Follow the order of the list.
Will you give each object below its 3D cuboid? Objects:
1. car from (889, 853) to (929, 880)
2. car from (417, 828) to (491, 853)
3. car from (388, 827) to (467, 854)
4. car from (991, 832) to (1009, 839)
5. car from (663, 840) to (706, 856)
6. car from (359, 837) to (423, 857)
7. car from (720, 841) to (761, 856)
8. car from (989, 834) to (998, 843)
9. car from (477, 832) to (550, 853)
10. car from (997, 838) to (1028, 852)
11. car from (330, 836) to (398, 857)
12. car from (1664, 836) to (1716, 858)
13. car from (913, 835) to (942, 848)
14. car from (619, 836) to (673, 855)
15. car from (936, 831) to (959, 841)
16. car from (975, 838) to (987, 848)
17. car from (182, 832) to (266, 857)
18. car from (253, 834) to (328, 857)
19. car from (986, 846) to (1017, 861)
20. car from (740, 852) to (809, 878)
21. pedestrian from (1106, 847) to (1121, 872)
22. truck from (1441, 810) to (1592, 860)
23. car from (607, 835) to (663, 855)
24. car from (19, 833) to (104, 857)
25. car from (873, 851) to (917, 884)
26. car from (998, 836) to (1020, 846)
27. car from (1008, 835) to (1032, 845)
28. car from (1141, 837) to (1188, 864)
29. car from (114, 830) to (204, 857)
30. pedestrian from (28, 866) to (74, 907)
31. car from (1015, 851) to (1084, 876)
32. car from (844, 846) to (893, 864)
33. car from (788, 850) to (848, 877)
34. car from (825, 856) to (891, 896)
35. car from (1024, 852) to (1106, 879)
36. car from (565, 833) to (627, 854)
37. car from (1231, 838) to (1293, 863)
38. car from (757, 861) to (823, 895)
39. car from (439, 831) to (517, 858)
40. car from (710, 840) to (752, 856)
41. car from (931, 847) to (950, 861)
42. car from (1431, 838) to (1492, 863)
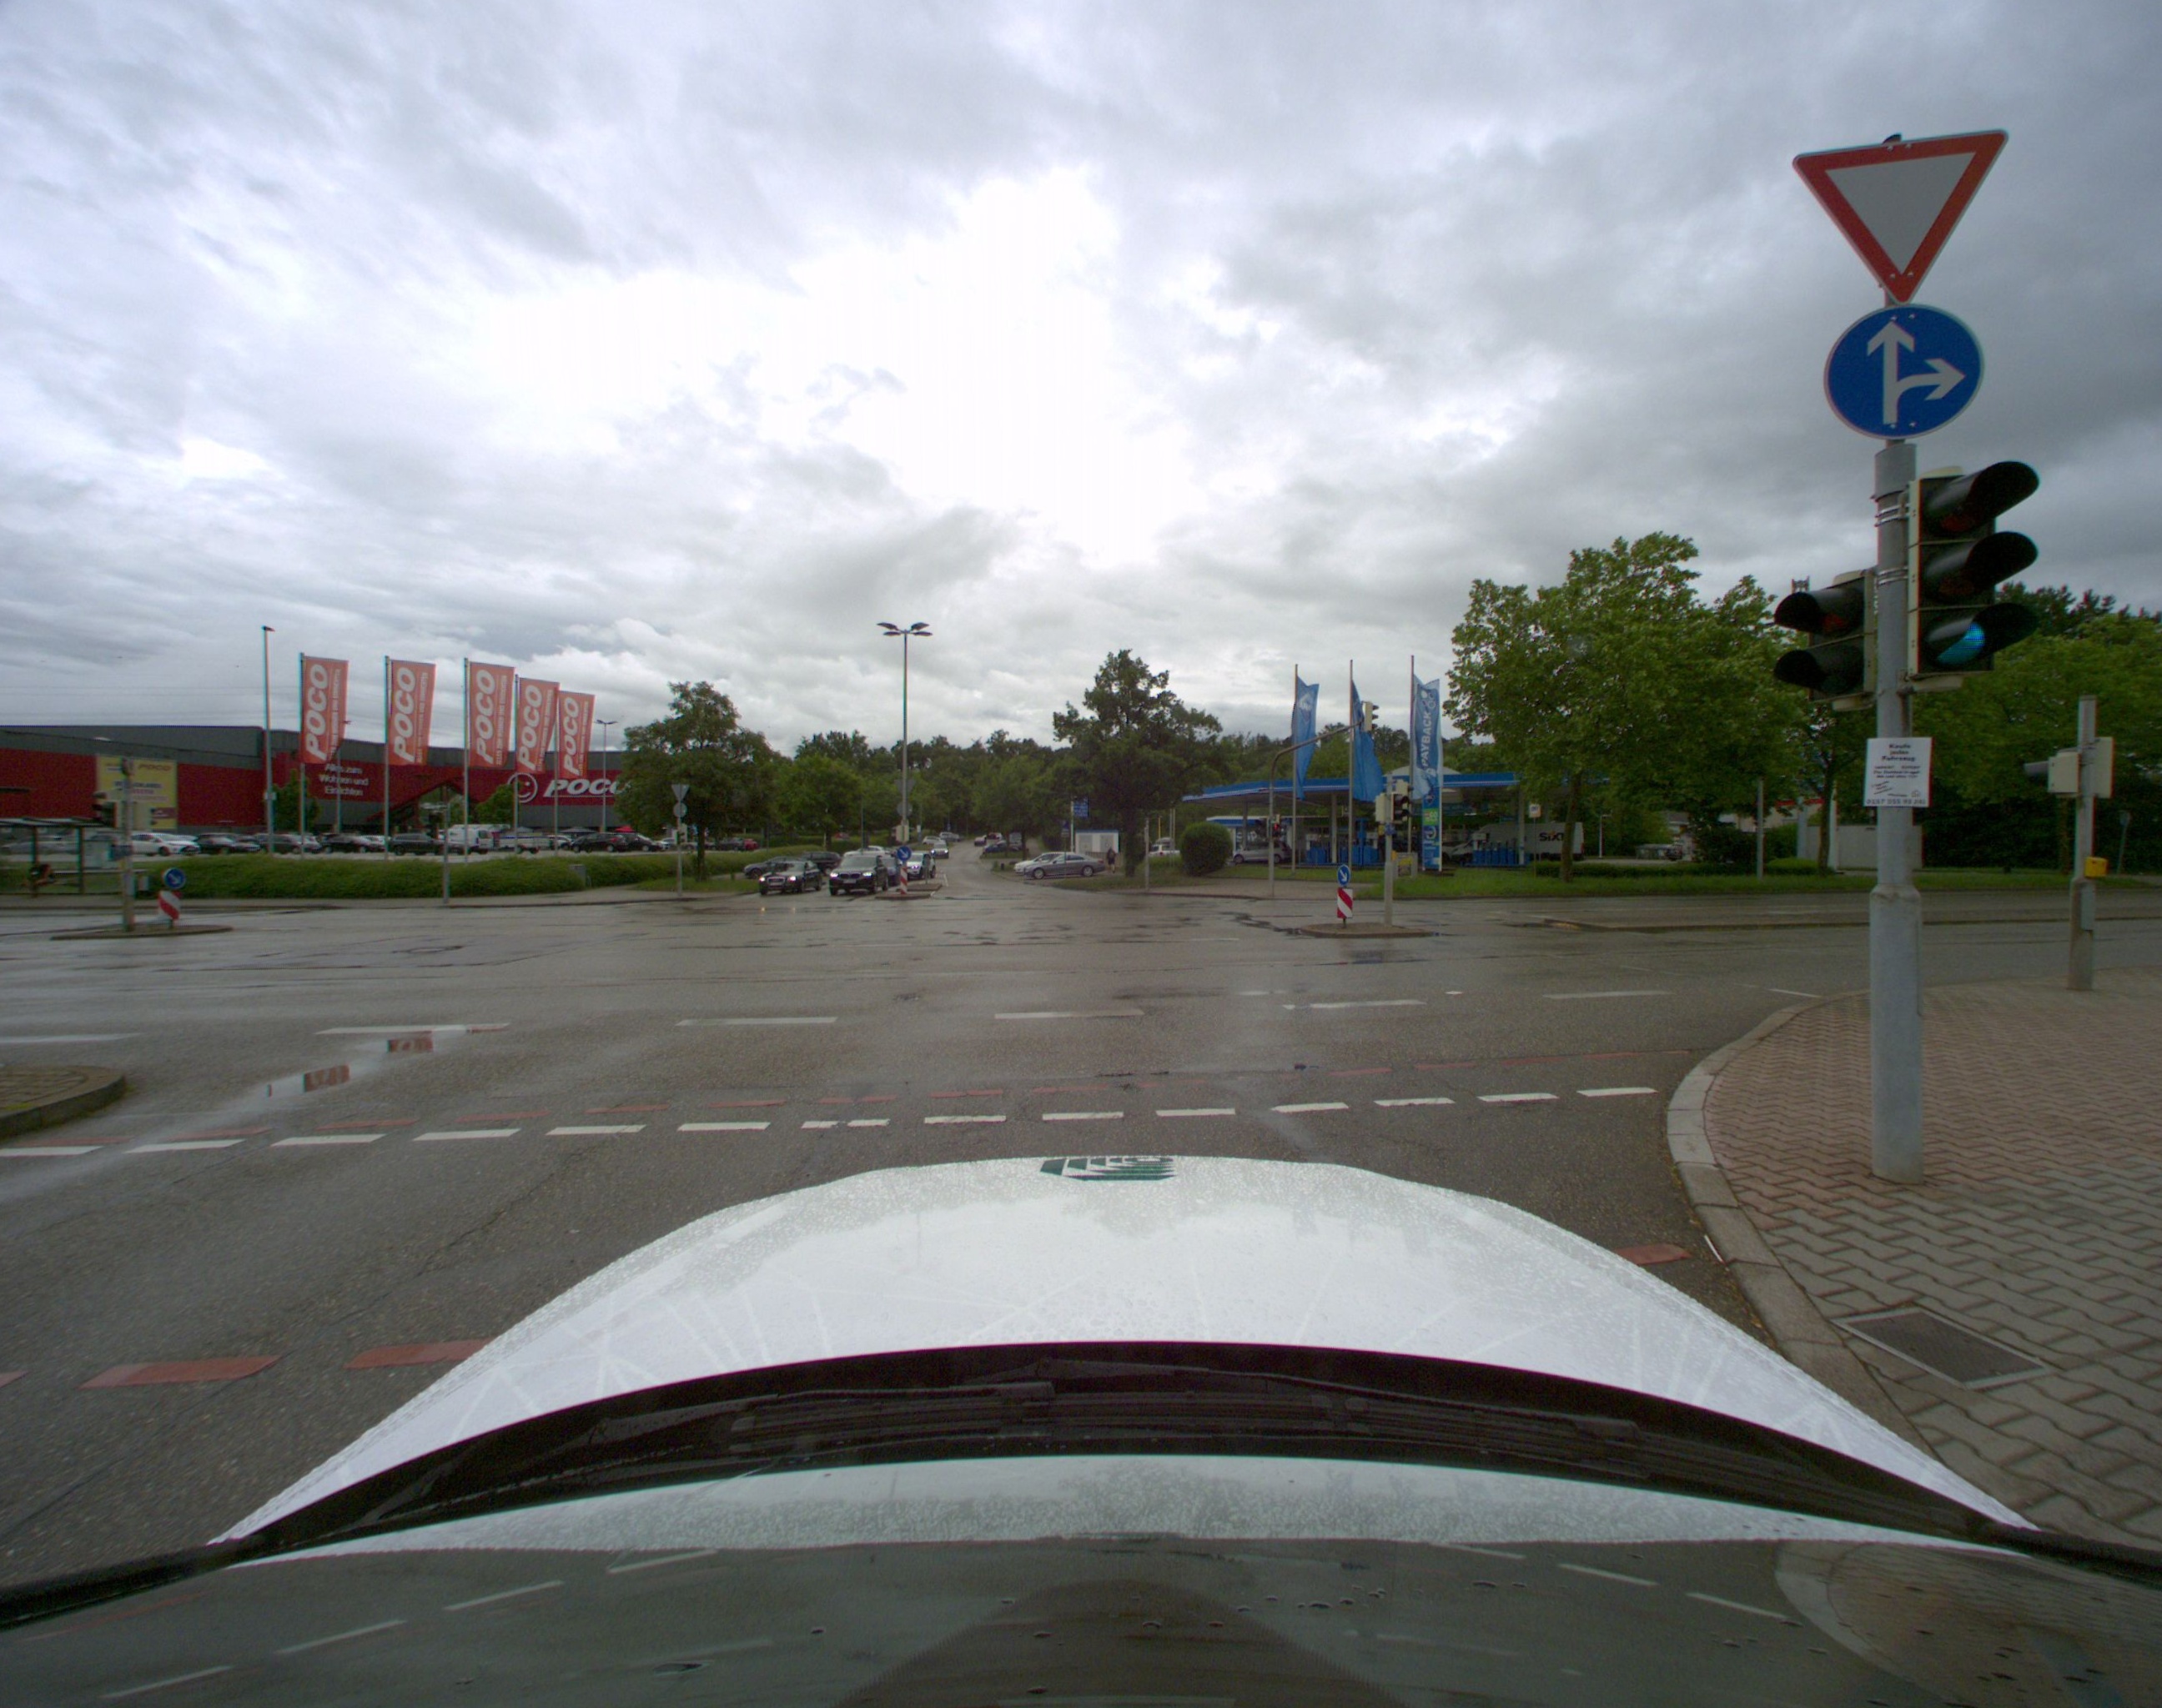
[{"bbox_3d":[-10.429,0.718,49.692,1.892,1.553,3.993,-1,0,-5],"label":"car"},{"bbox_3d":[-43.396,-0.936,56.424,3.802,1.645,1.632,-1,-1,-1],"label":"car"},{"bbox_3d":[-42.892,-0.882,53.480,3.802,1.645,1.672,-1,-1,-1],"label":"car"},{"bbox_3d":[-18.453,-4.144,185.307,3.978,1.530,1.804,-1,-1,-3],"label":"car"},{"bbox_3d":[-42.830,-0.623,88.119,3.802,1.645,1.672,-1,-1,-1],"label":"car"},{"bbox_3d":[-57.930,-0.557,68.403,3.937,1.645,1.672,-1,-1,-1],"label":"car"},{"bbox_3d":[-37.969,-0.605,90.833,3.802,1.645,1.672,-1,-1,-1],"label":"car"},{"bbox_3d":[-19.052,-3.347,177.360,1.802,1.739,3.991,-1,0,-6],"label":"car"},{"bbox_3d":[-39.447,-0.768,56.636,3.884,1.381,1.672,-1,0,-1],"label":"car"},{"bbox_3d":[-8.291,-1.073,98.532,3.694,1.750,1.693,0,-1,-7],"label":"car"},{"bbox_3d":[-57.916,-0.576,65.828,3.937,1.645,1.672,-1,-1,-1],"label":"car"},{"bbox_3d":[53.555,-0.617,71.632,4.007,1.838,1.983,-1,-1,-26],"label":"car"},{"bbox_3d":[-22.544,-1.824,119.567,3.985,1.794,1.851,-1,-1,-9],"label":"car"},{"bbox_3d":[-38.153,-0.752,71.473,3.802,1.645,1.672,-1,-1,-1],"label":"car"},{"bbox_3d":[-24.572,-3.264,149.991,3.979,1.794,1.854,-1,-1,-4],"label":"car"},{"bbox_3d":[-15.902,-1.810,129.469,1.804,1.482,3.745,-1,0,-4],"label":"car"},{"bbox_3d":[-58.898,-0.650,56.009,3.937,1.645,1.672,-1,-1,-1],"label":"car"},{"bbox_3d":[-58.856,-0.614,60.671,3.937,1.645,1.672,-1,-1,-1],"label":"car"},{"bbox_3d":[-8.941,-0.033,91.691,3.456,1.654,1.612,0,-1,-7],"label":"car"},{"bbox_3d":[-18.759,0.658,49.987,3.647,1.553,1.680,-1,-1,-9],"label":"car"},{"bbox_3d":[2.136,0.377,53.803,0.808,1.661,0.884,-1,-1,-8],"label":"pedestrian"},{"bbox_3d":[25.829,-1.052,48.715,7.777,2.675,2.167,-2,-1,24],"label":"truck"},{"bbox_3d":[-37.616,-0.774,68.702,3.802,1.645,1.672,-1,-1,-1],"label":"car"},{"bbox_3d":[-73.780,-0.617,58.957,3.937,1.645,1.697,-1,-1,-1],"label":"car"},{"bbox_3d":[-9.987,0.714,44.026,1.794,1.633,4.541,-1,-1,-6],"label":"car"},{"bbox_3d":[-12.896,-2.314,145.668,3.984,1.739,1.806,-1,-1,-8],"label":"car"},{"bbox_3d":[-10.429,-2.380,138.333,3.984,1.739,1.806,-1,-1,-8],"label":"car"},{"bbox_3d":[5.562,-0.220,54.907,1.813,1.797,3.677,0,-1,-18],"label":"car"},{"bbox_3d":[-59.865,-0.672,52.918,3.937,1.645,1.672,-1,-1,-1],"label":"car"},{"bbox_3d":[-36.609,1.136,28.953,0.638,1.431,0.780,-1,-1,-5],"label":"pedestrian"},{"bbox_3d":[-2.214,0.635,56.038,4.570,1.589,1.924,-1,0,-9],"label":"car"},{"bbox_3d":[-20.018,0.128,76.810,4.265,1.609,1.682,-1,-1,-5],"label":"car"},{"bbox_3d":[-17.969,0.639,55.690,3.647,1.724,1.680,-1,-1,-9],"label":"car"},{"bbox_3d":[-9.404,0.886,34.685,1.892,1.553,4.584,-1,0,-5],"label":"car"},{"bbox_3d":[-1.028,0.703,50.797,4.884,1.549,1.994,-1,0,-9],"label":"car"},{"bbox_3d":[-37.880,-0.811,63.695,3.802,1.645,1.672,-1,-1,-1],"label":"car"},{"bbox_3d":[13.332,-0.255,59.899,4.077,1.807,1.957,0,-1,26],"label":"car"},{"bbox_3d":[-12.972,1.049,36.534,1.780,1.404,3.993,-1,0,-5],"label":"car"},{"bbox_3d":[-54.350,-0.852,73.406,5.611,2.303,1.826,-1,-1,-1],"label":"car"},{"bbox_3d":[-37.835,-0.626,88.052,3.802,1.645,1.672,-1,-1,-1],"label":"car"},{"bbox_3d":[-15.225,0.066,88.342,1.695,1.456,3.665,-1,-1,-6],"label":"car"},{"bbox_3d":[25.384,-0.239,54.356,3.517,1.582,1.700,1,0,30],"label":"car"}]
